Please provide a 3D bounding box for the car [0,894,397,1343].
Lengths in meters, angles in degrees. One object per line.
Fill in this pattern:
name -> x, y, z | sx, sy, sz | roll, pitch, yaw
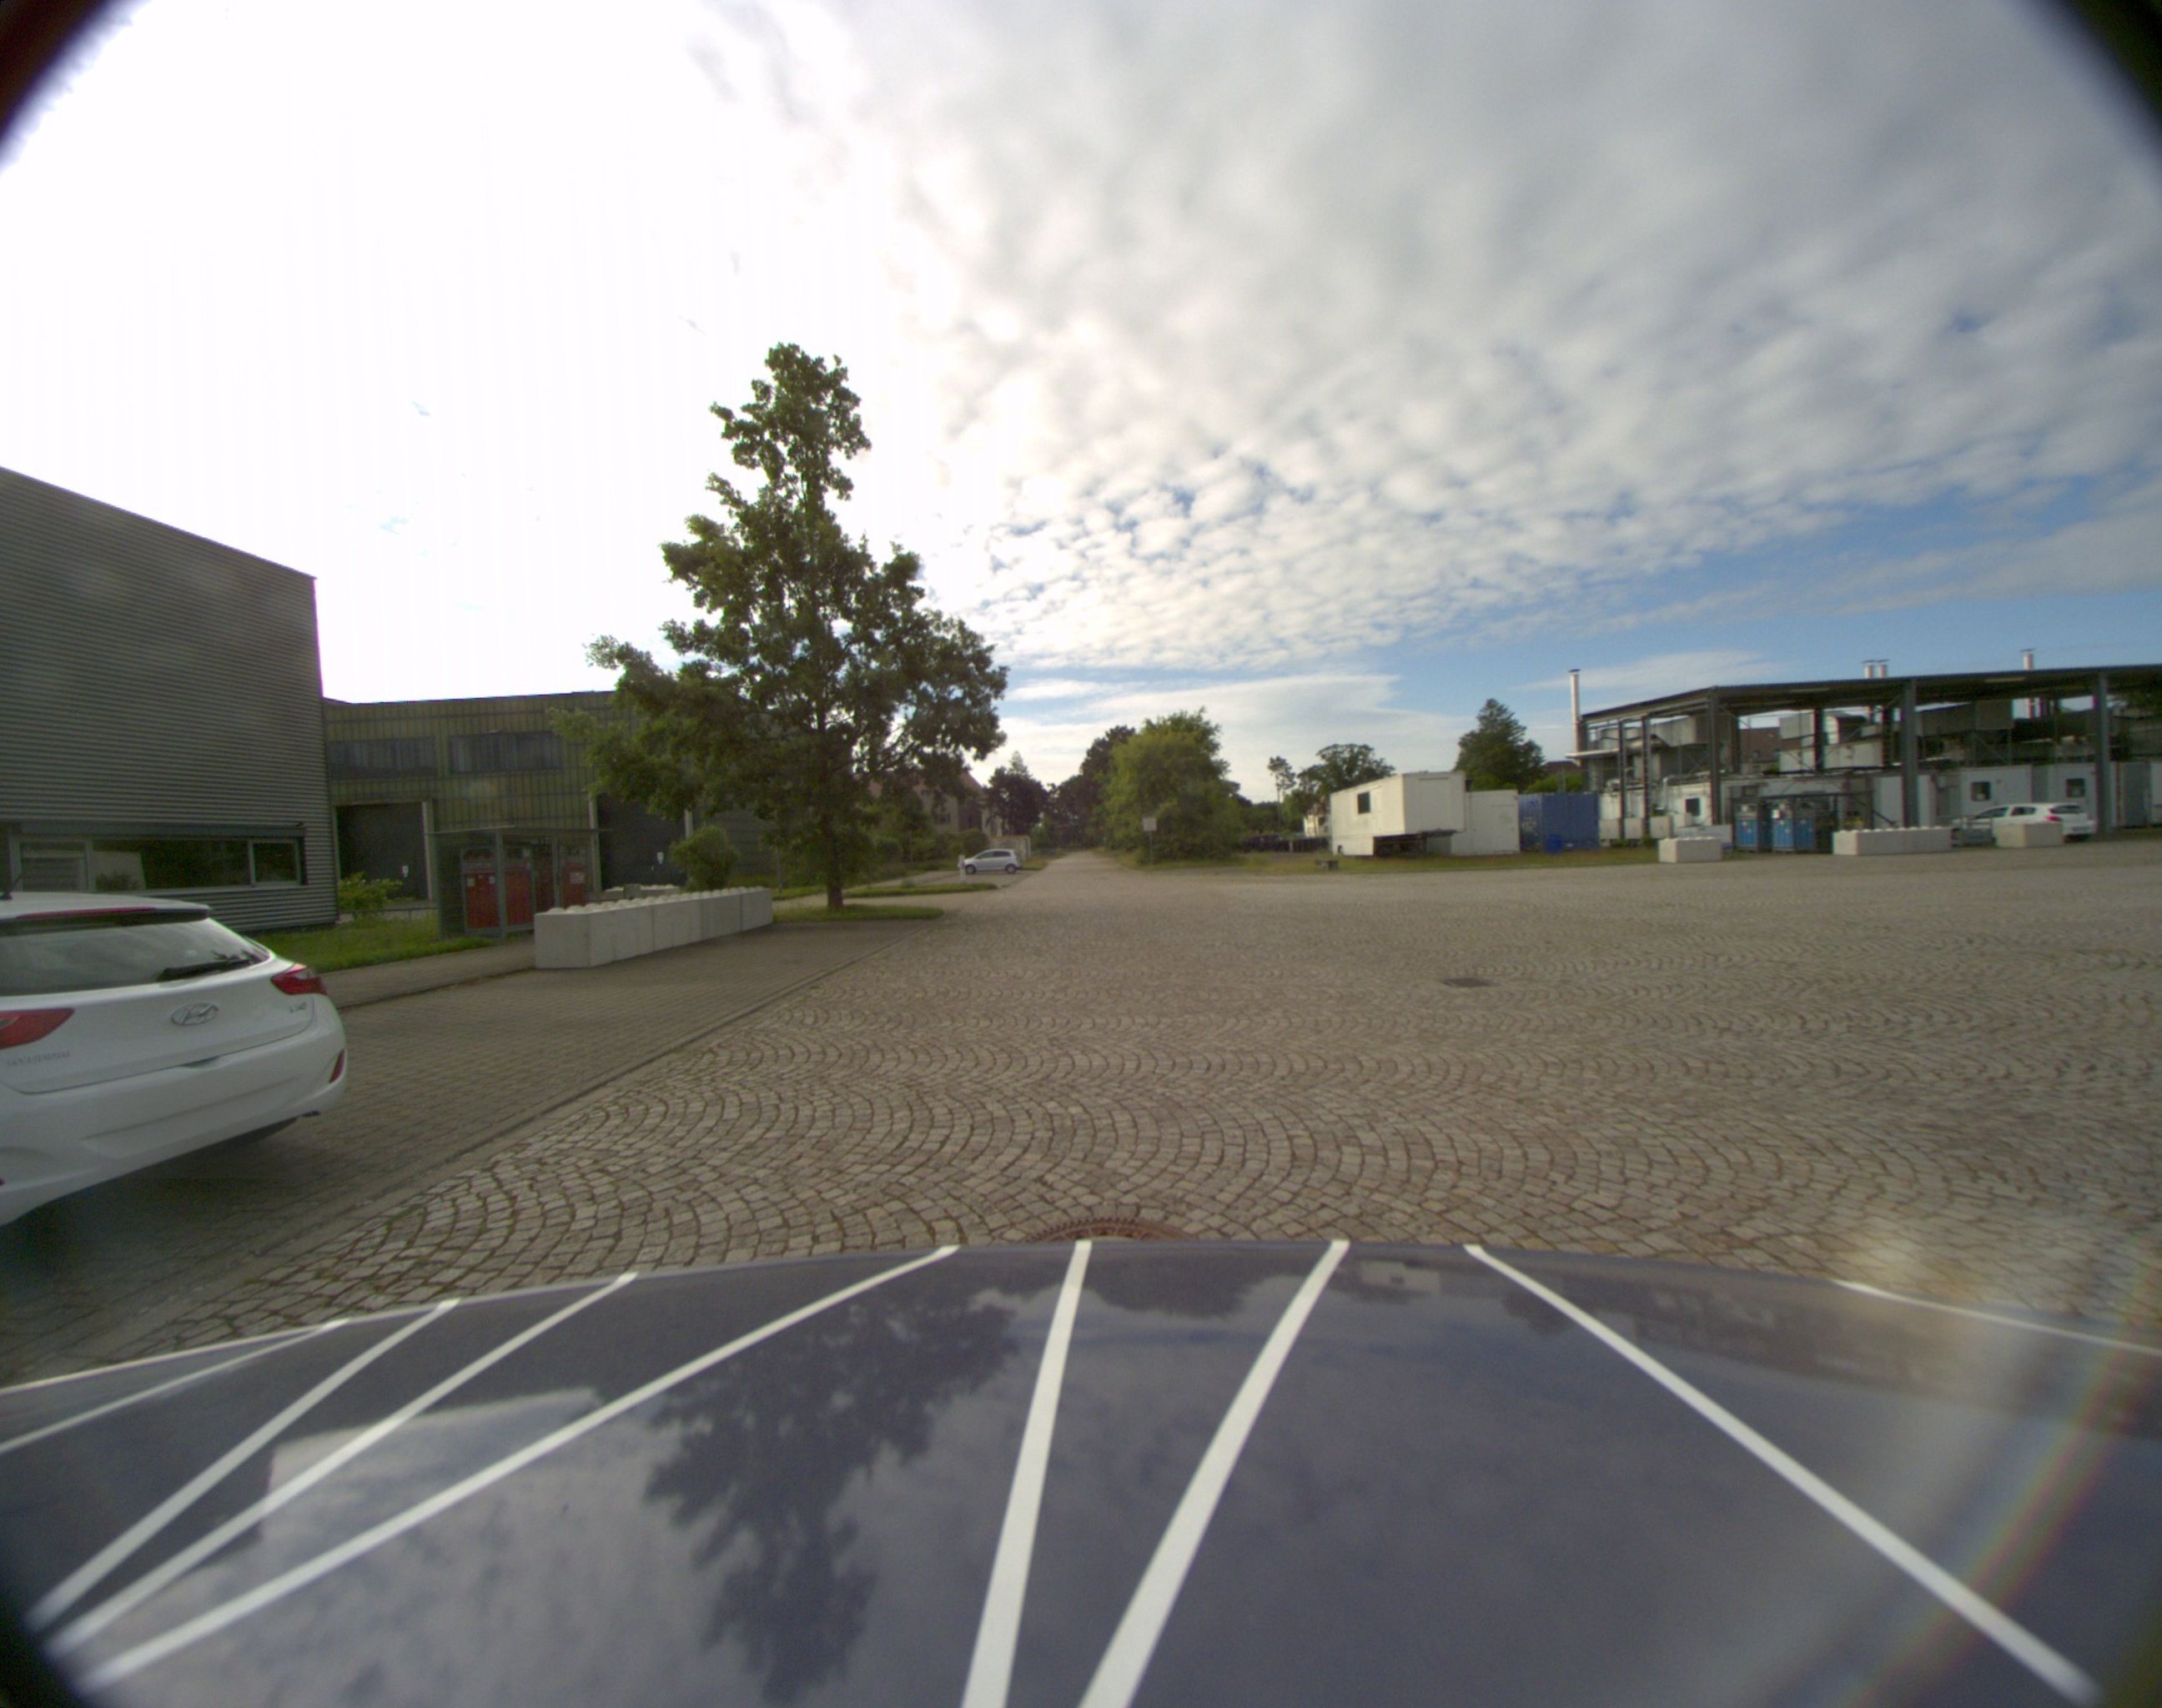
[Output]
car -> -5.760, 1.032, 3.189 | 3.986, 1.458, 1.882 | -2, 1, 0

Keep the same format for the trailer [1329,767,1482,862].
trailer -> 14.617, -1.656, 35.502 | 2.875, 3.641, 10.777 | -3, 1, 3

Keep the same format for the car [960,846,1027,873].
car -> -5.626, 0.332, 49.338 | 4.132, 1.615, 1.938 | -1, 2, -2

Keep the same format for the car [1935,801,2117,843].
car -> 36.017, -1.176, 29.158 | 1.933, 1.464, 3.998 | -1, 1, -2
